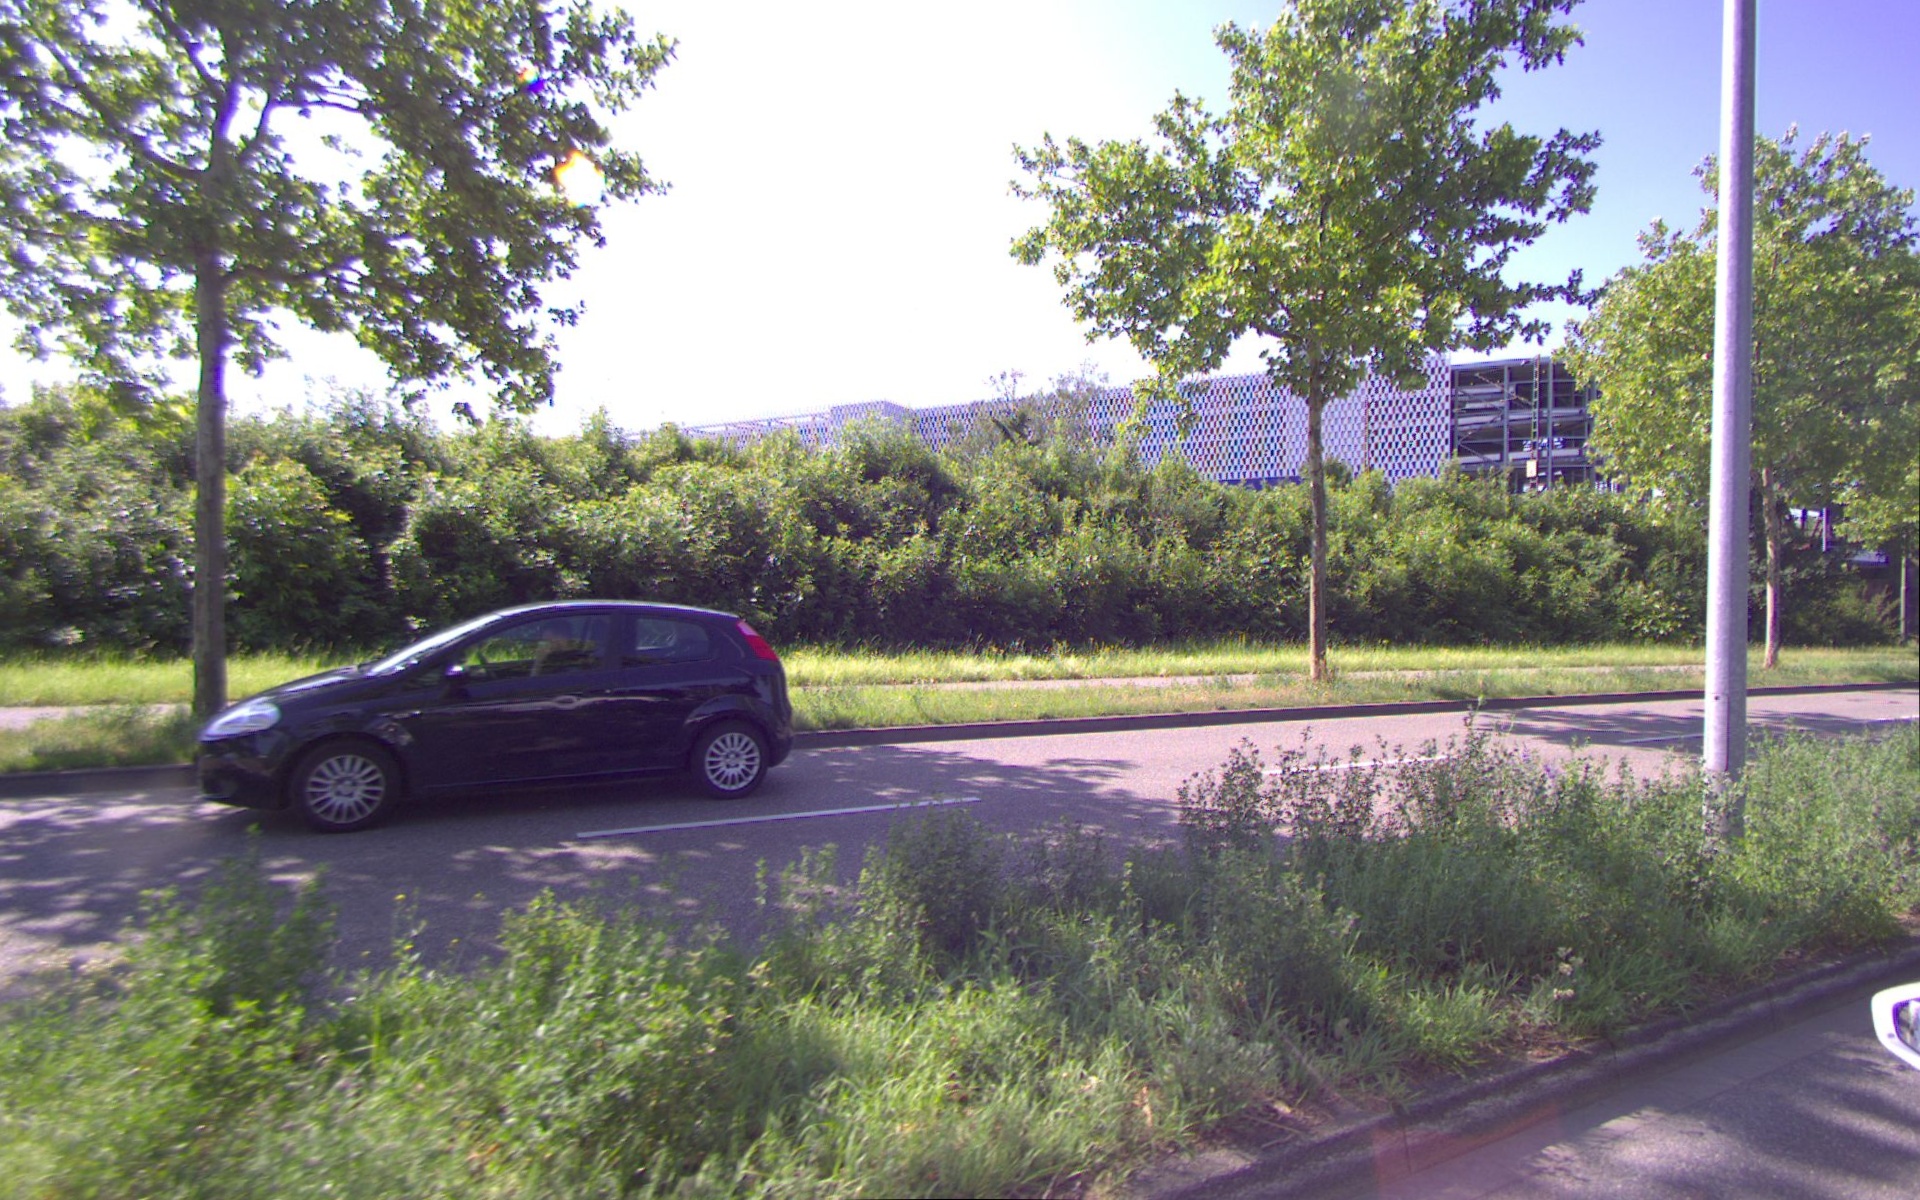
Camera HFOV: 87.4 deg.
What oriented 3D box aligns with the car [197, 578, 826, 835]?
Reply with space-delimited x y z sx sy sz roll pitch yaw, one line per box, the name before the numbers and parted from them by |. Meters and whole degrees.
car | -3.114 0.645 7.486 3.880 1.489 1.563 1 1 -29
